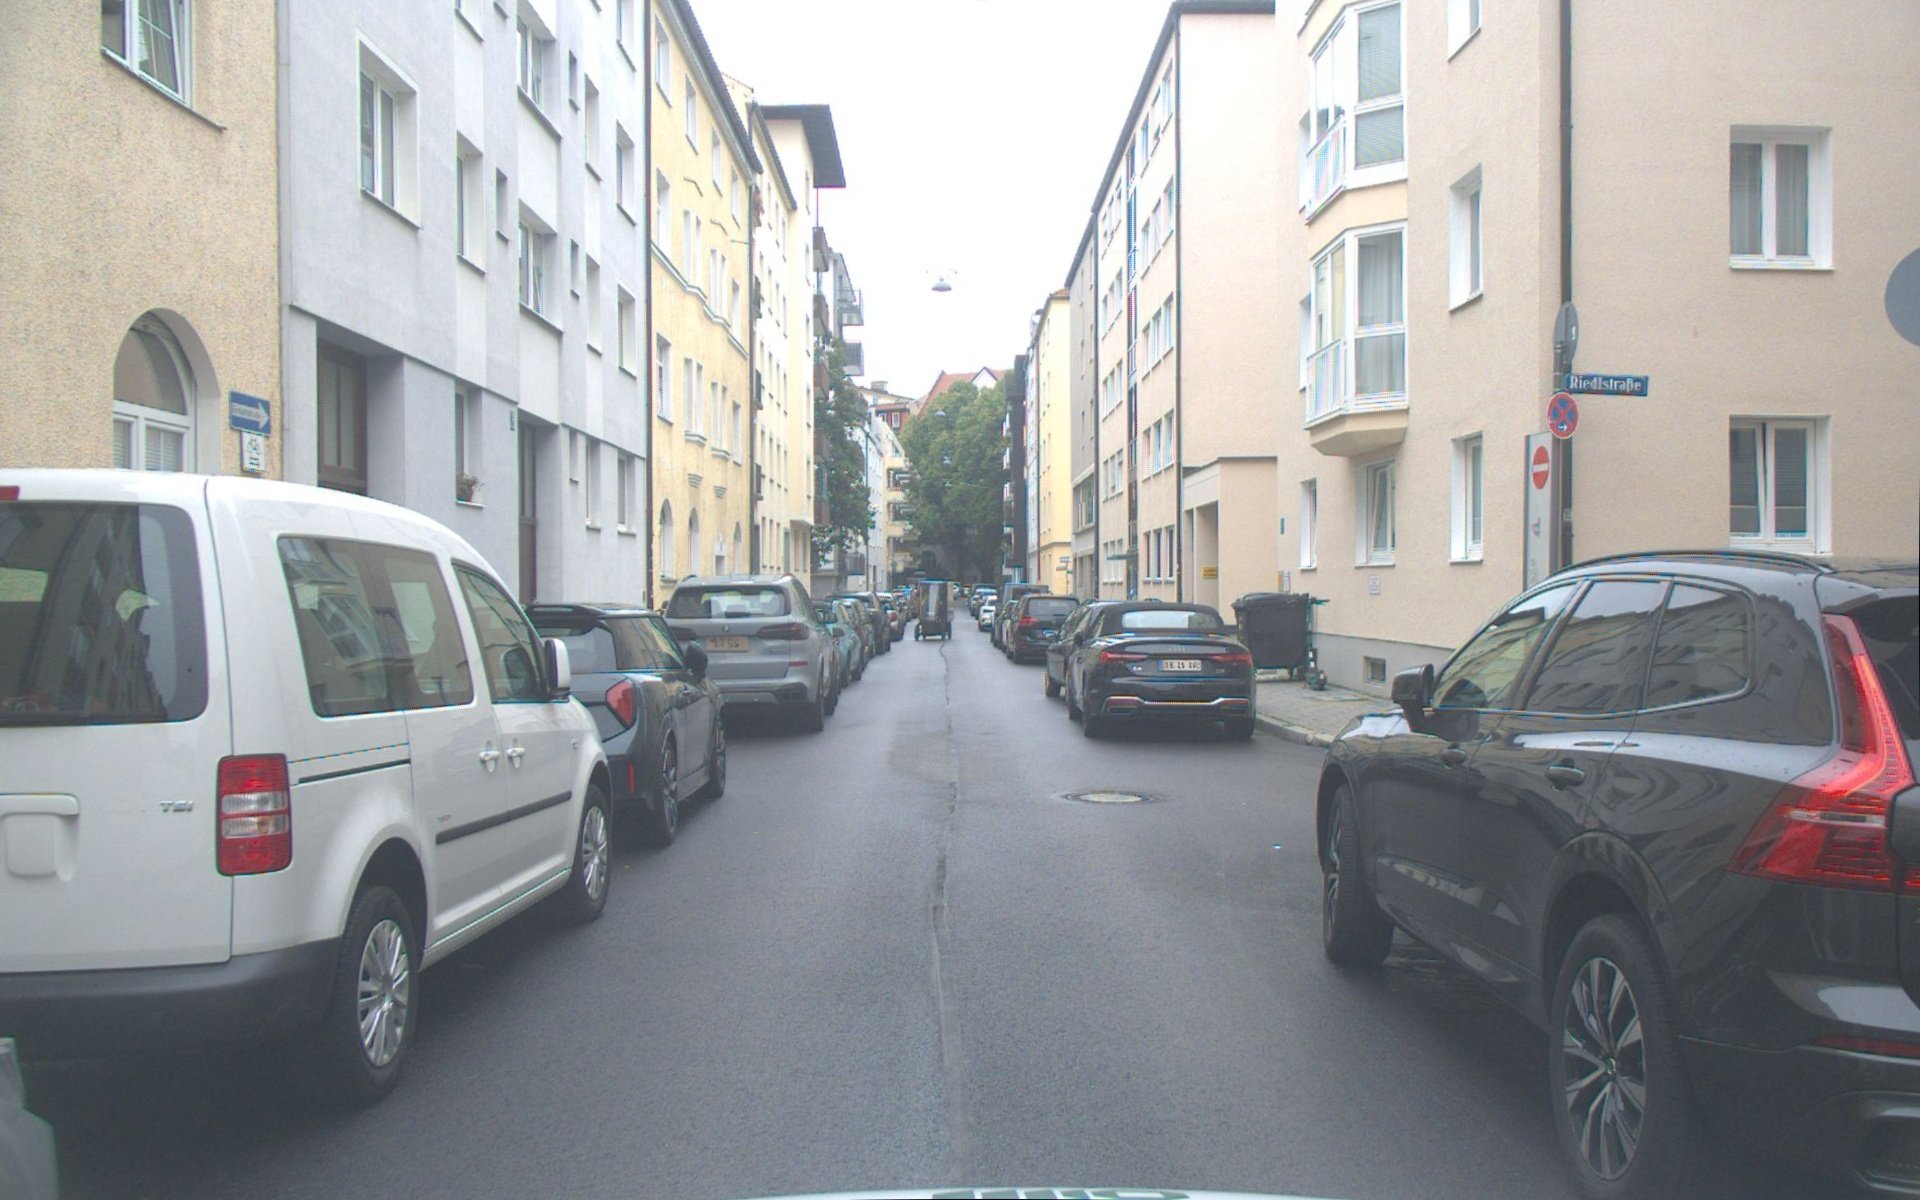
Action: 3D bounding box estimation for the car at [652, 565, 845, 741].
[{"bbox_3d":[-2.411,0.564,19.939,1.825,1.801,4.733,-2,0,-2],"label":"car"}]

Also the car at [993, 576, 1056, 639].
[{"bbox_3d":[2.144,0.215,55.864,1.716,2.010,4.341,2,1,-3],"label":"car"}]

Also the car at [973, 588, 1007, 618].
[{"bbox_3d":[1.618,0.126,90.558,1.715,1.495,4.342,2,1,-1],"label":"car"}]

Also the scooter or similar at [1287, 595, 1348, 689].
[{"bbox_3d":[5.085,0.587,23.570,0.564,1.288,1.136,-2,0,-1],"label":"scooter or similar"}]

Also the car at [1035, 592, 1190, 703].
[{"bbox_3d":[2.177,0.653,24.758,1.682,1.497,4.529,1,0,-3],"label":"car"}]

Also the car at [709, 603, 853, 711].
[{"bbox_3d":[-2.603,0.796,24.909,1.775,1.410,4.249,-2,0,-2],"label":"car"}]

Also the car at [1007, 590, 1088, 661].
[{"bbox_3d":[2.090,0.594,40.301,1.676,1.636,4.243,1,0,-1],"label":"car"}]

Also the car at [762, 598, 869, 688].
[{"bbox_3d":[-2.534,0.720,29.702,1.530,1.486,3.404,-1,0,1],"label":"car"}]

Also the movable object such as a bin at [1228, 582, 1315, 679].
[{"bbox_3d":[4.910,0.470,26.183,1.011,1.448,1.586,-2,0,-1],"label":"movable object such as a bin"}]

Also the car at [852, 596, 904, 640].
[{"bbox_3d":[-2.836,0.610,57.752,1.618,1.461,3.802,-1,0,0],"label":"car"}]

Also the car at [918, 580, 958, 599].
[{"bbox_3d":[-2.117,-1.012,160.663,3.807,1.612,1.647,-3,0,-2],"label":"car"}]

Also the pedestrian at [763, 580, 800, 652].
[{"bbox_3d":[-4.531,0.391,41.942,0.822,1.795,1.067,1,0,-1],"label":"pedestrian"}]

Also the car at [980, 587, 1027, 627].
[{"bbox_3d":[1.814,0.274,70.394,1.782,1.432,3.952,1,3,-1],"label":"car"}]

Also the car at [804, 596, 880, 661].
[{"bbox_3d":[-2.842,0.661,40.441,1.530,1.486,3.476,-1,0,1],"label":"car"}]

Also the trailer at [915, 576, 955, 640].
[{"bbox_3d":[-0.855,0.289,57.583,1.327,2.153,3.318,-1,-1,0],"label":"trailer"}]

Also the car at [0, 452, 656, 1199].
[{"bbox_3d":[-2.443,0.578,6.228,1.688,1.820,4.249,-2,0,1],"label":"car"}]

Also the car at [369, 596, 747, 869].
[{"bbox_3d":[-2.459,0.757,11.004,1.618,1.436,3.733,-2,-1,-1],"label":"car"}]

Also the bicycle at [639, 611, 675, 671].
[{"bbox_3d":[-5.455,0.730,29.840,0.387,1.049,1.570,0,0,-1],"label":"bicycle"}]

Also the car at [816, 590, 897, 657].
[{"bbox_3d":[-2.785,0.605,45.289,1.840,1.689,4.415,-1,0,1],"label":"car"}]

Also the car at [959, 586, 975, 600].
[{"bbox_3d":[0.713,-0.716,177.853,1.609,1.407,3.745,-3,1,-1],"label":"car"}]

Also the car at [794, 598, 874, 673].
[{"bbox_3d":[-2.663,0.723,35.548,1.531,1.486,3.762,-1,0,-2],"label":"car"}]

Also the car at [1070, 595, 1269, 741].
[{"bbox_3d":[2.240,0.686,18.754,1.795,1.430,4.412,1,0,1],"label":"car"}]

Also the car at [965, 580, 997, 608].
[{"bbox_3d":[1.275,-0.409,100.608,1.648,1.595,4.414,2,1,-2],"label":"car"}]

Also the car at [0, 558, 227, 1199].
[{"bbox_3d":[-2.190,0.706,1.012,1.638,1.501,4.111,-2,-1,0],"label":"car"}]

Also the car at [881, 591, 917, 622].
[{"bbox_3d":[-3.149,0.325,85.614,1.658,1.467,3.942,-1,1,0],"label":"car"}]

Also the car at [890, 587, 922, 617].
[{"bbox_3d":[-3.222,0.106,99.135,1.740,1.657,4.414,-1,1,-1],"label":"car"}]

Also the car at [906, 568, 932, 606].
[{"bbox_3d":[-3.243,-1.028,132.068,1.897,2.850,4.532,-3,1,-1],"label":"car"}]

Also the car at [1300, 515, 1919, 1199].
[{"bbox_3d":[2.505,0.684,5.336,1.795,1.650,4.410,1,0,-2],"label":"car"}]

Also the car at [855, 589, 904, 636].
[{"bbox_3d":[-3.035,0.462,63.022,1.730,1.704,4.366,-1,0,-1],"label":"car"}]
